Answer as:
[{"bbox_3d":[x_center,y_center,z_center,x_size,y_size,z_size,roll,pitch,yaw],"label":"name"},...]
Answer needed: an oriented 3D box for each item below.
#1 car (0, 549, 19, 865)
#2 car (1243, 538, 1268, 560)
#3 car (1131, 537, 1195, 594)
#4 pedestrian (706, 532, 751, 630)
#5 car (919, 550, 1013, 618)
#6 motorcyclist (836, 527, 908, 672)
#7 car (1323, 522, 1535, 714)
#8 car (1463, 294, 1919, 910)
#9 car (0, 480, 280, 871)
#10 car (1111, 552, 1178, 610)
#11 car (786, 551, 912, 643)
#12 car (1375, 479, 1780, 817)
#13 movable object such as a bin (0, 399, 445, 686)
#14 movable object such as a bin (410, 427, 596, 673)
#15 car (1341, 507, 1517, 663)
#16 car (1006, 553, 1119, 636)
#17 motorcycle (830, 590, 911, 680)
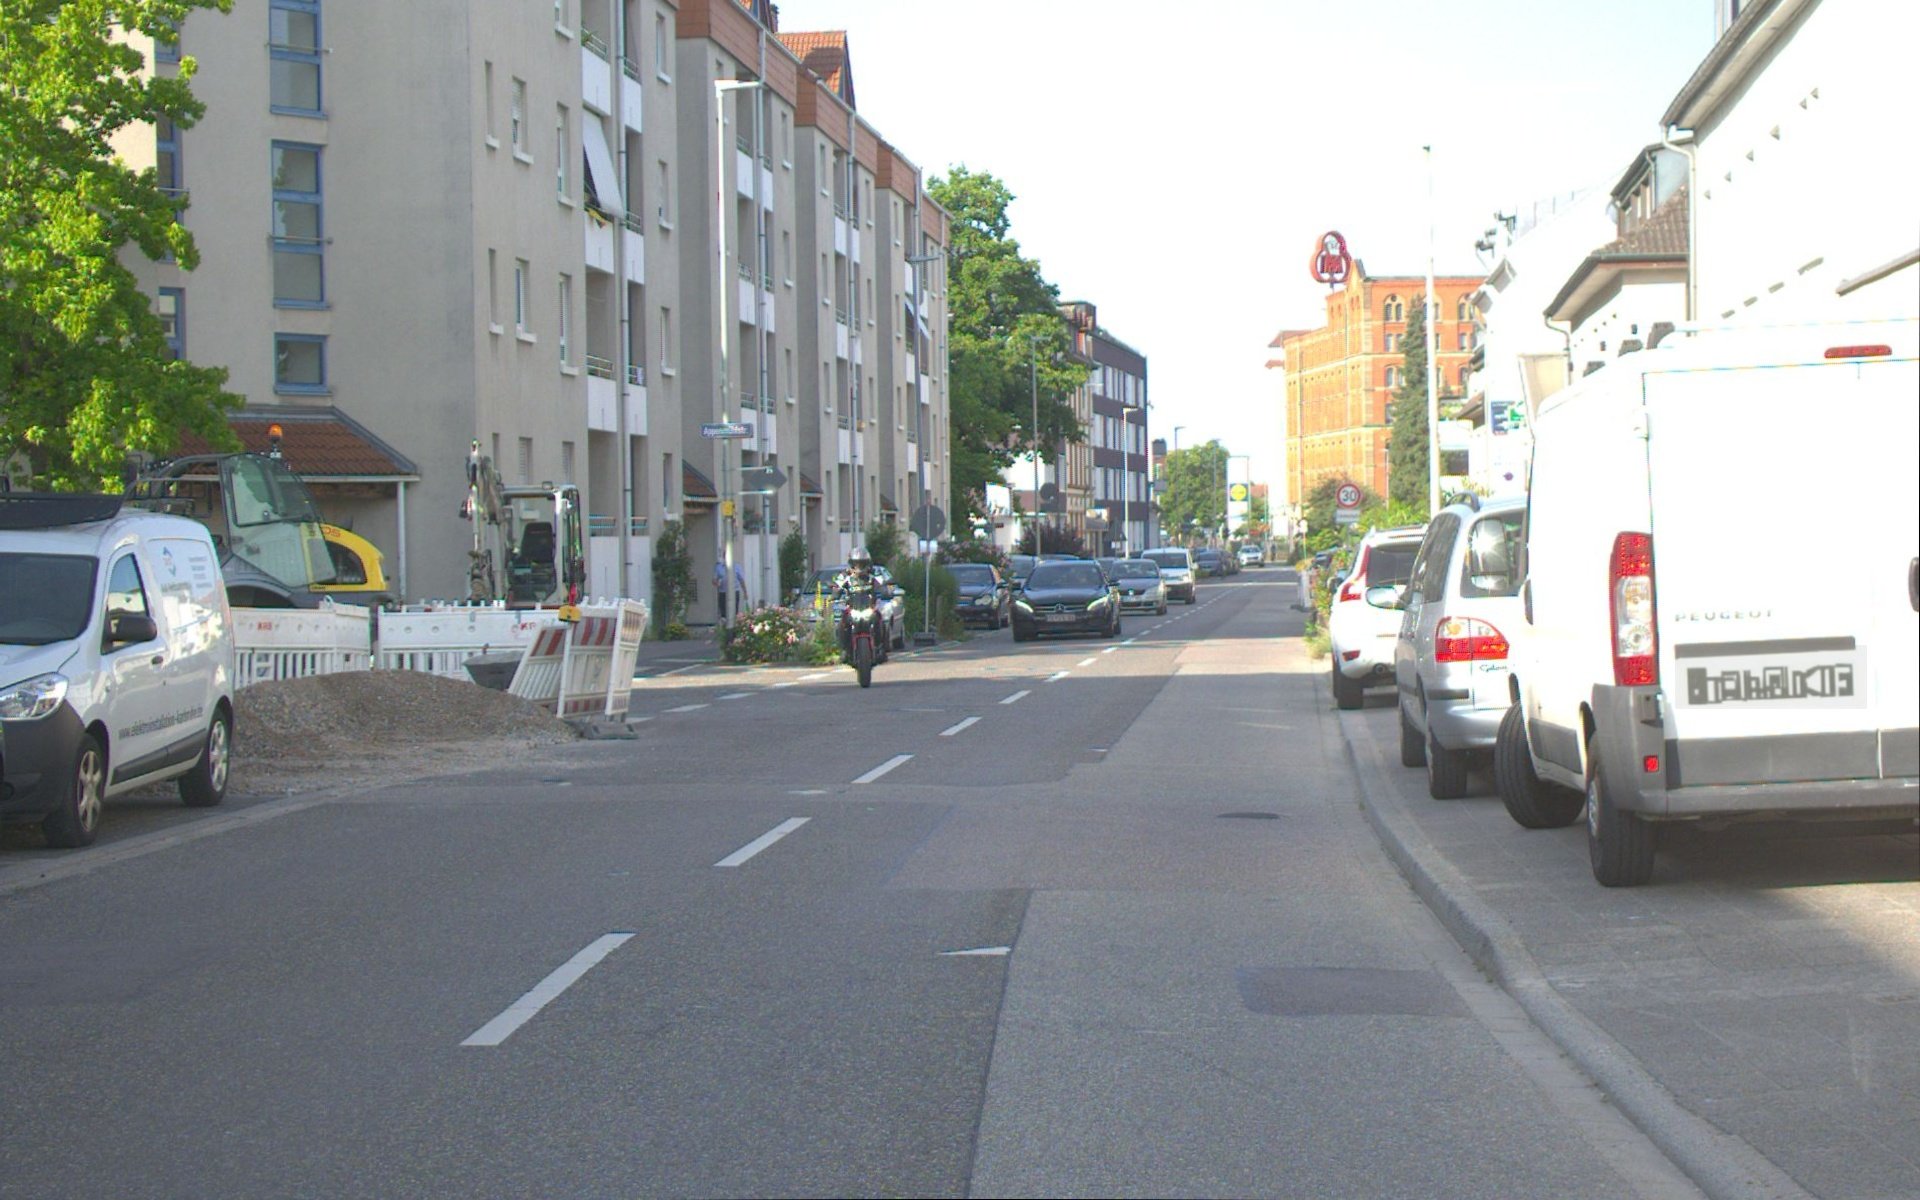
[{"bbox_3d":[-5.205,0.524,14.440,1.493,1.460,3.514,0,1,1],"label":"car"},{"bbox_3d":[22.336,-3.882,259.726,1.764,1.611,3.999,-1,1,6],"label":"car"},{"bbox_3d":[6.540,-1.126,110.419,1.922,1.761,4.337,-1,1,5],"label":"car"},{"bbox_3d":[-4.325,-0.356,64.185,0.719,1.812,0.745,0,1,6],"label":"pedestrian"},{"bbox_3d":[0.147,-0.361,73.908,1.686,1.401,4.083,0,1,5],"label":"car"},{"bbox_3d":[-1.016,-0.014,39.768,0.769,1.646,0.843,1,1,2],"label":"motorcyclist"},{"bbox_3d":[4.514,0.114,33.612,1.812,1.678,4.476,-2,1,5],"label":"car"},{"bbox_3d":[3.657,-0.062,15.664,2.174,2.319,4.997,-2,1,3],"label":"car"},{"bbox_3d":[-5.238,0.324,19.411,1.727,1.954,4.438,0,1,3],"label":"car"},{"bbox_3d":[4.839,-0.514,89.888,1.618,1.450,3.685,-1,1,5],"label":"car"},{"bbox_3d":[-1.782,-0.077,56.016,1.640,1.391,3.671,-1,1,4],"label":"car"},{"bbox_3d":[3.548,0.205,20.507,1.778,1.735,4.483,-2,1,3],"label":"car"},{"bbox_3d":[-8.178,-0.605,35.953,5.496,2.890,2.112,0,1,-9],"label":"movable object such as a bin"},{"bbox_3d":[-6.058,-0.683,45.957,1.648,3.127,3.900,-1,1,4],"label":"movable object such as a bin"},{"bbox_3d":[6.088,-0.243,44.580,2.076,1.849,4.609,-2,1,8],"label":"car"},{"bbox_3d":[1.916,-0.125,62.988,1.830,1.415,4.208,-1,1,5],"label":"car"},{"bbox_3d":[-1.025,0.388,39.809,0.768,0.981,2.199,0,1,3],"label":"motorcycle"}]
